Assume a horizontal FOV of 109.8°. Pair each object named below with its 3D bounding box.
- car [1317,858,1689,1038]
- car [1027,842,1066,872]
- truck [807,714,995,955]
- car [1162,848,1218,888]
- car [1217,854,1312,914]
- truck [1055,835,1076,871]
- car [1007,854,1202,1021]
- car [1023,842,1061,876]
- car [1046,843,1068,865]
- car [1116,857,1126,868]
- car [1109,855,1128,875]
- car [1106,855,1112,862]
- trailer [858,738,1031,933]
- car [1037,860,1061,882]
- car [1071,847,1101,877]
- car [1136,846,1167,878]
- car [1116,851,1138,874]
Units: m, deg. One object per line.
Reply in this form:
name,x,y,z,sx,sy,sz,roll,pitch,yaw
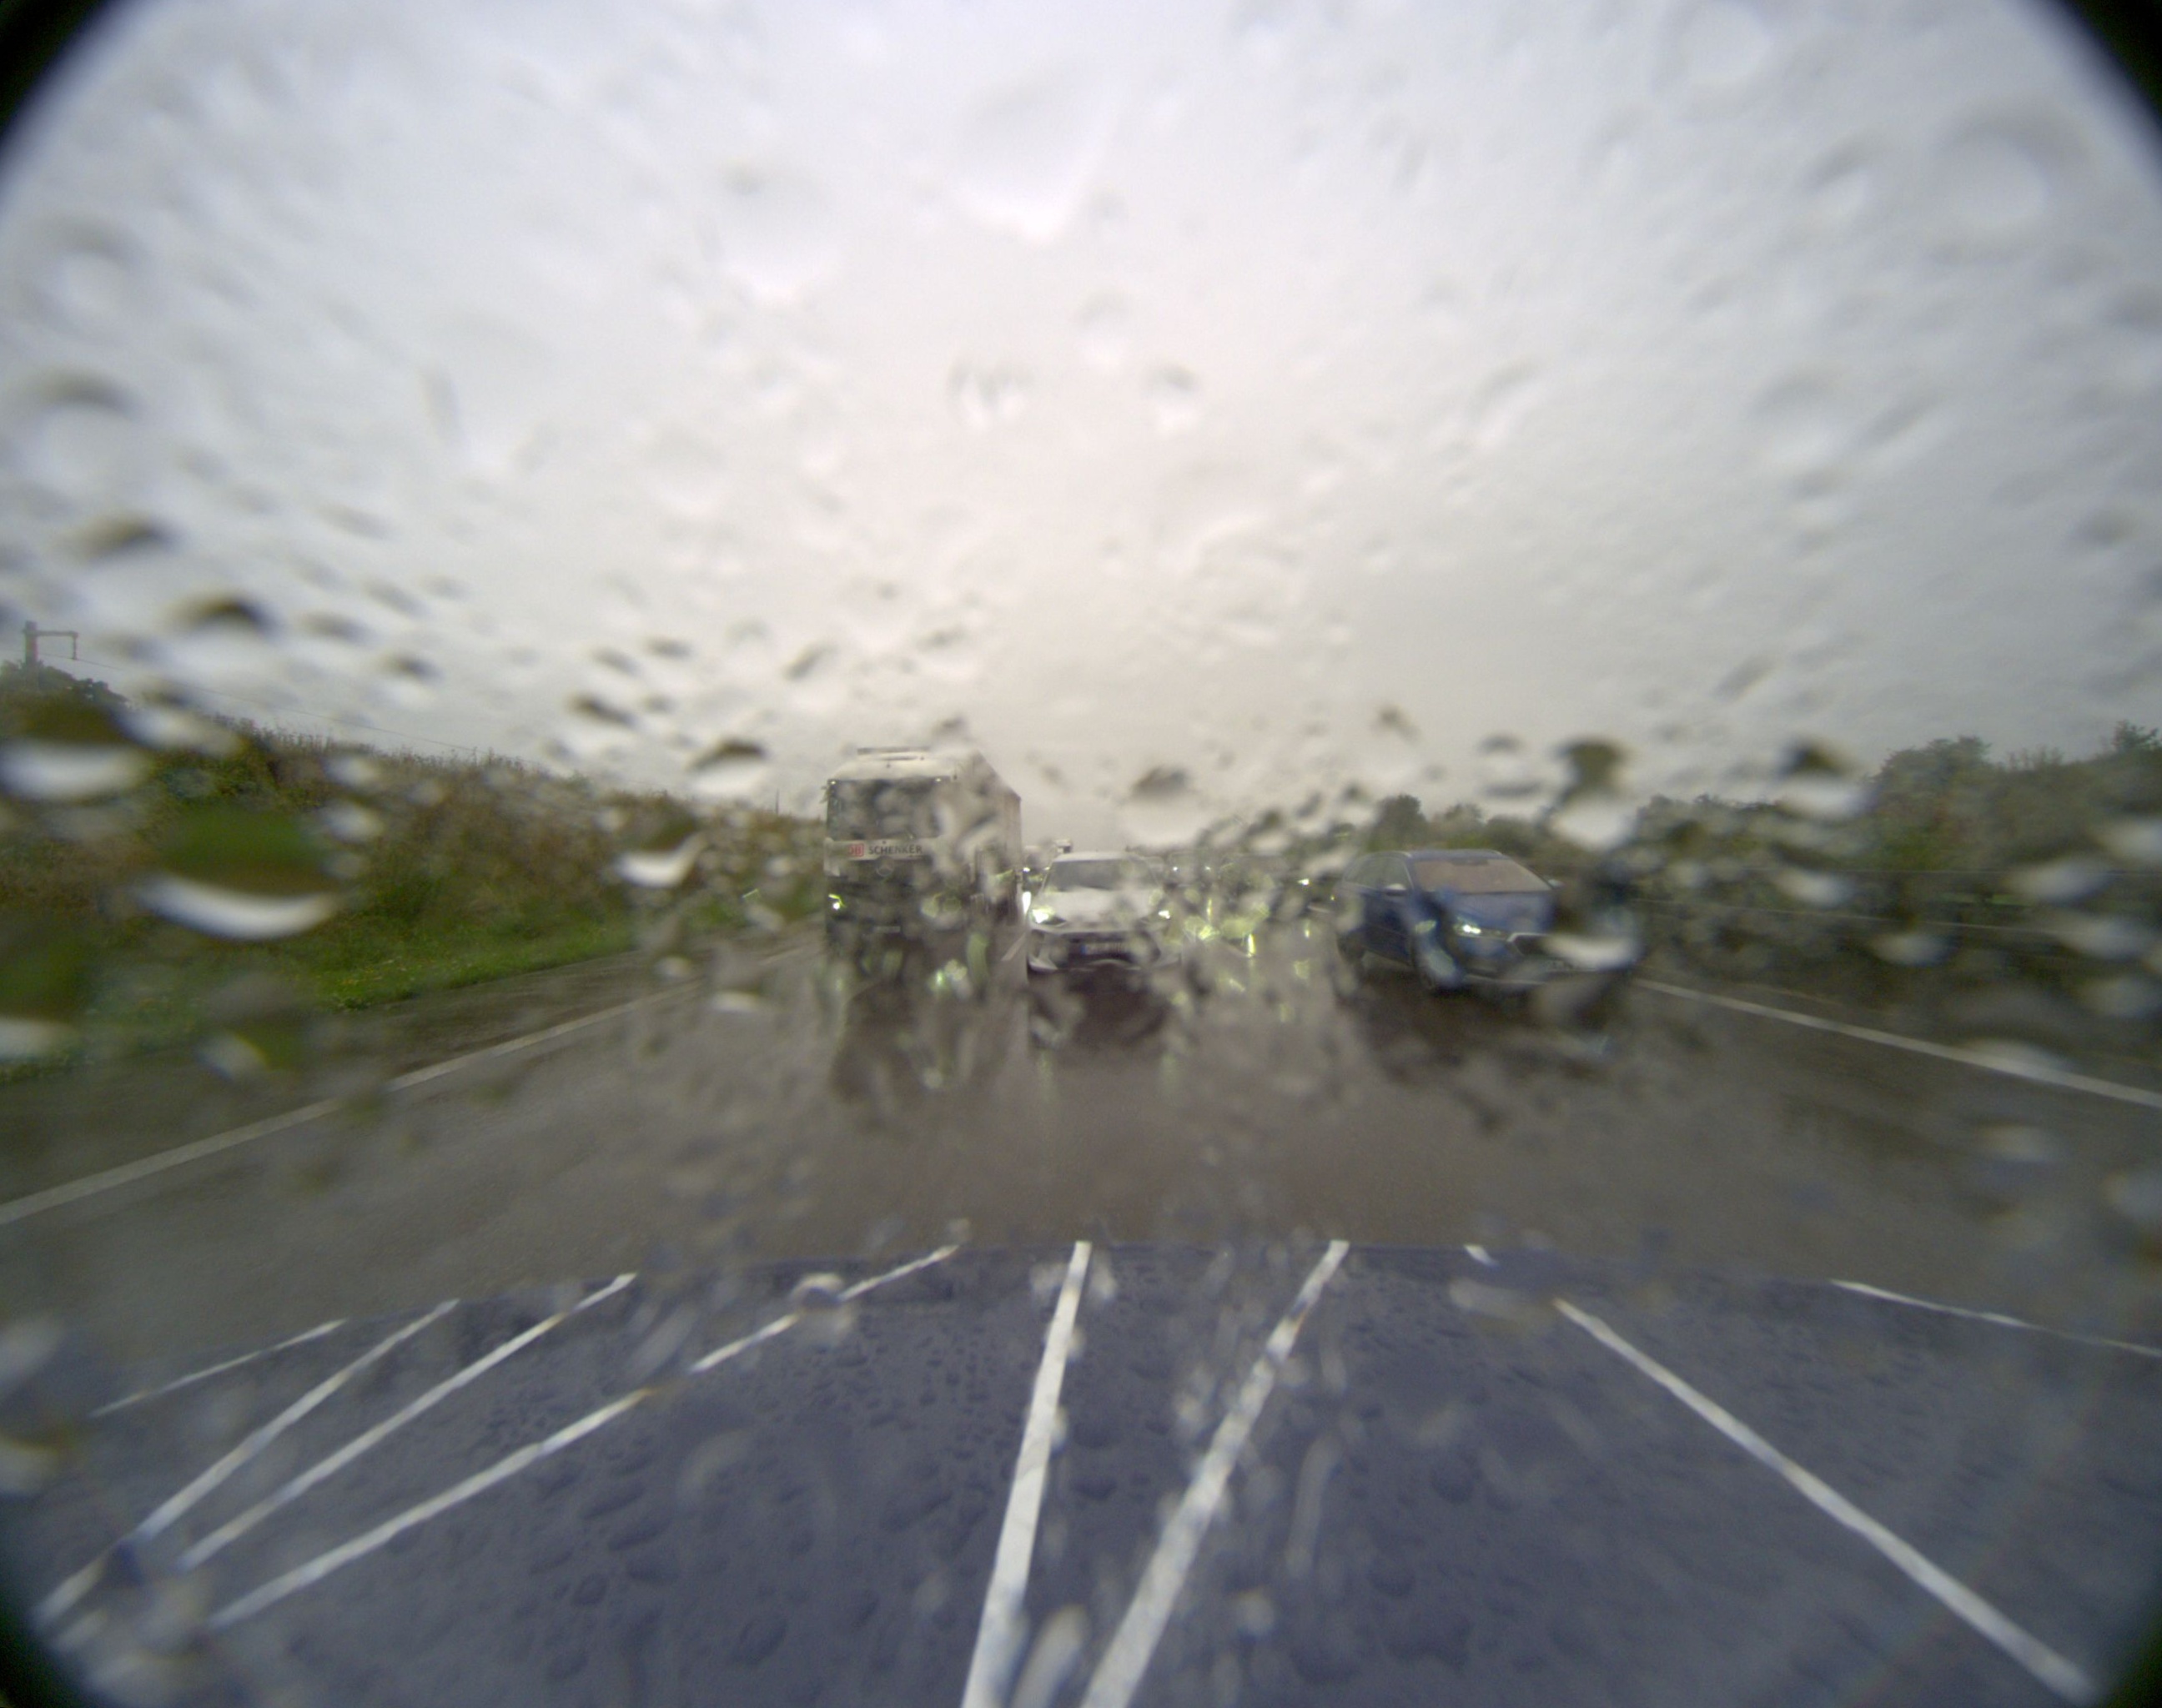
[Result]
car,4.327,0.818,8.783,1.791,1.467,4.512,-2,0,0
car,-2.454,0.210,54.921,2.260,2.002,4.269,-2,1,3
truck,-3.517,-0.380,16.168,2.633,4.229,5.042,-2,1,0
car,4.915,0.596,34.740,1.889,1.622,4.269,-2,0,0
car,4.975,0.757,21.169,1.613,1.428,4.370,-2,0,0
truck,-2.110,-0.130,103.453,2.628,4.635,4.290,-2,0,1
car,0.248,0.835,9.555,1.893,1.578,4.000,-2,0,0
car,-2.405,0.252,48.410,1.946,2.002,4.446,-2,1,2
car,-2.433,-0.005,78.113,1.998,2.231,4.000,-2,0,0
car,5.703,1.180,108.538,1.458,1.540,2.804,0,2,1
car,3.931,1.096,79.745,1.737,2.002,4.223,-2,0,0
car,6.733,1.023,182.883,1.279,1.567,2.848,-2,0,0
trailer,-3.488,-0.477,23.942,2.633,4.224,14.174,-2,1,0
car,-2.885,1.550,69.781,1.998,1.805,4.000,-2,0,0
car,0.414,0.534,54.783,1.998,2.002,4.000,-2,0,1
car,4.600,0.489,50.132,1.888,2.002,4.270,-2,0,3
car,4.113,0.744,68.981,1.737,2.002,4.223,-2,0,0
